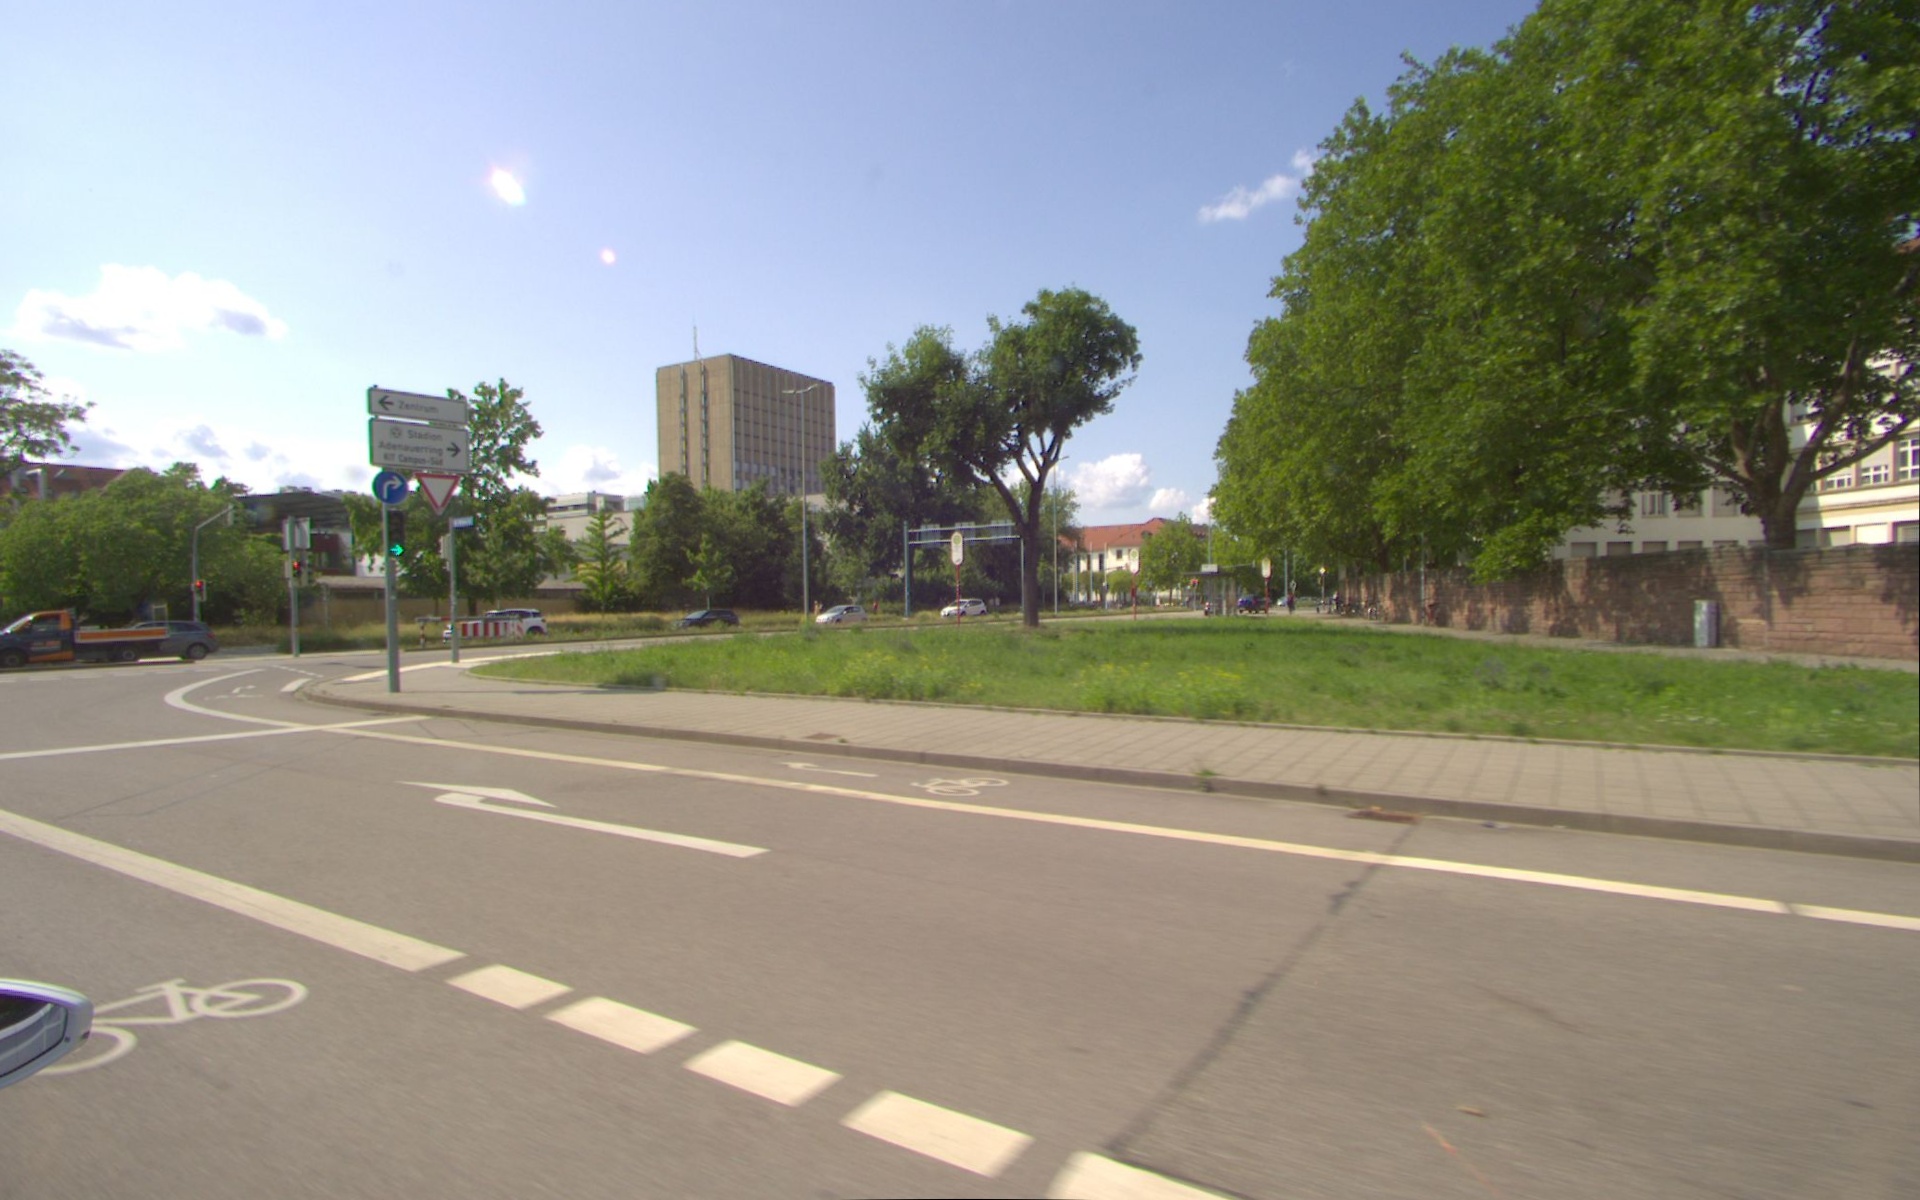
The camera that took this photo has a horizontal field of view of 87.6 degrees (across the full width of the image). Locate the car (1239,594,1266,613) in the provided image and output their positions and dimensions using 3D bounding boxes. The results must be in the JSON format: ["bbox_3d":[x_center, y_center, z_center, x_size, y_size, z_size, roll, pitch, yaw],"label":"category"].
[{"bbox_3d":[26.448,0.327,90.472,1.601,1.631,3.907,0,1,28],"label":"car"}]

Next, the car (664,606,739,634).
[{"bbox_3d":[-14.340,1.109,55.699,1.604,1.438,3.899,0,1,35],"label":"car"}]

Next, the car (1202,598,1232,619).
[{"bbox_3d":[21.606,0.693,84.120,1.601,1.631,3.907,0,1,28],"label":"car"}]

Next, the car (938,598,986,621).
[{"bbox_3d":[0.174,0.730,76.682,1.604,1.631,3.995,0,1,35],"label":"car"}]

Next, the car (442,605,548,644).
[{"bbox_3d":[-21.259,1.096,45.878,1.604,1.631,4.138,0,1,35],"label":"car"}]

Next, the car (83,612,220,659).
[{"bbox_3d":[-31.312,1.320,38.859,1.607,1.631,3.892,0,1,40],"label":"car"}]

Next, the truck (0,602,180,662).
[{"bbox_3d":[-30.593,1.056,34.893,1.977,1.862,5.091,0,1,40],"label":"truck"}]

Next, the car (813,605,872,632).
[{"bbox_3d":[-7.629,1.200,65.340,1.605,1.631,3.897,0,1,36],"label":"car"}]

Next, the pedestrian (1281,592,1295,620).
[{"bbox_3d":[23.327,0.424,71.295,0.891,1.908,0.945,0,1,14],"label":"pedestrian"}]
